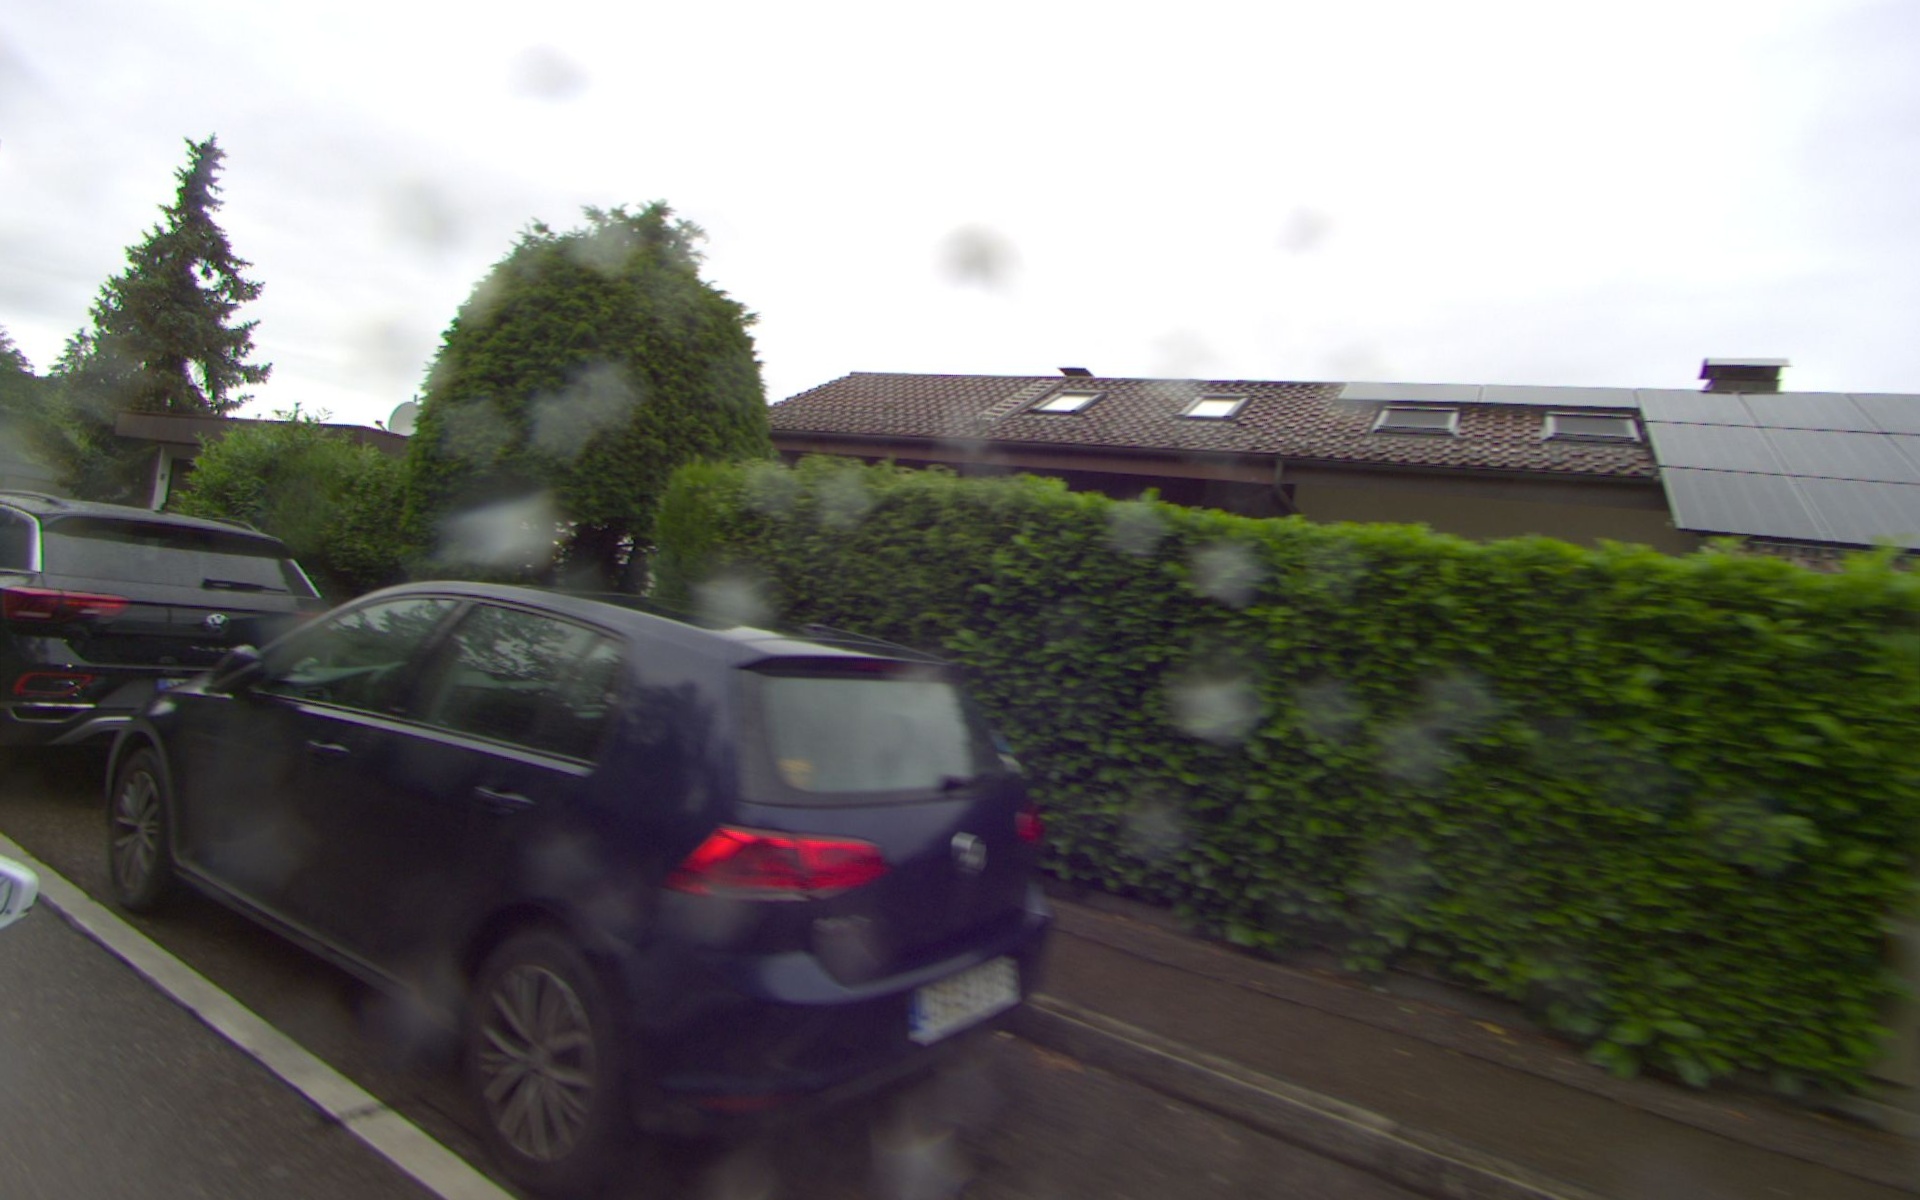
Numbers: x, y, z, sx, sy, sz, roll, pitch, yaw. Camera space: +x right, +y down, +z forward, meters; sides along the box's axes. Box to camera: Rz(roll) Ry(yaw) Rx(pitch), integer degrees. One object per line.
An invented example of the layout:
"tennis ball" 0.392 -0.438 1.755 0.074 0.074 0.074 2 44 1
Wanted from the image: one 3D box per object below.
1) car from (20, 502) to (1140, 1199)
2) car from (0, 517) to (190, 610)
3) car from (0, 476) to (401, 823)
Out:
"car" -1.694 0.620 3.895 4.231 1.478 1.759 7 -2 33
"car" -18.920 -0.807 21.019 4.209 1.430 1.918 11 -6 -44
"car" -5.859 0.117 6.572 4.406 1.610 1.878 7 -2 33
